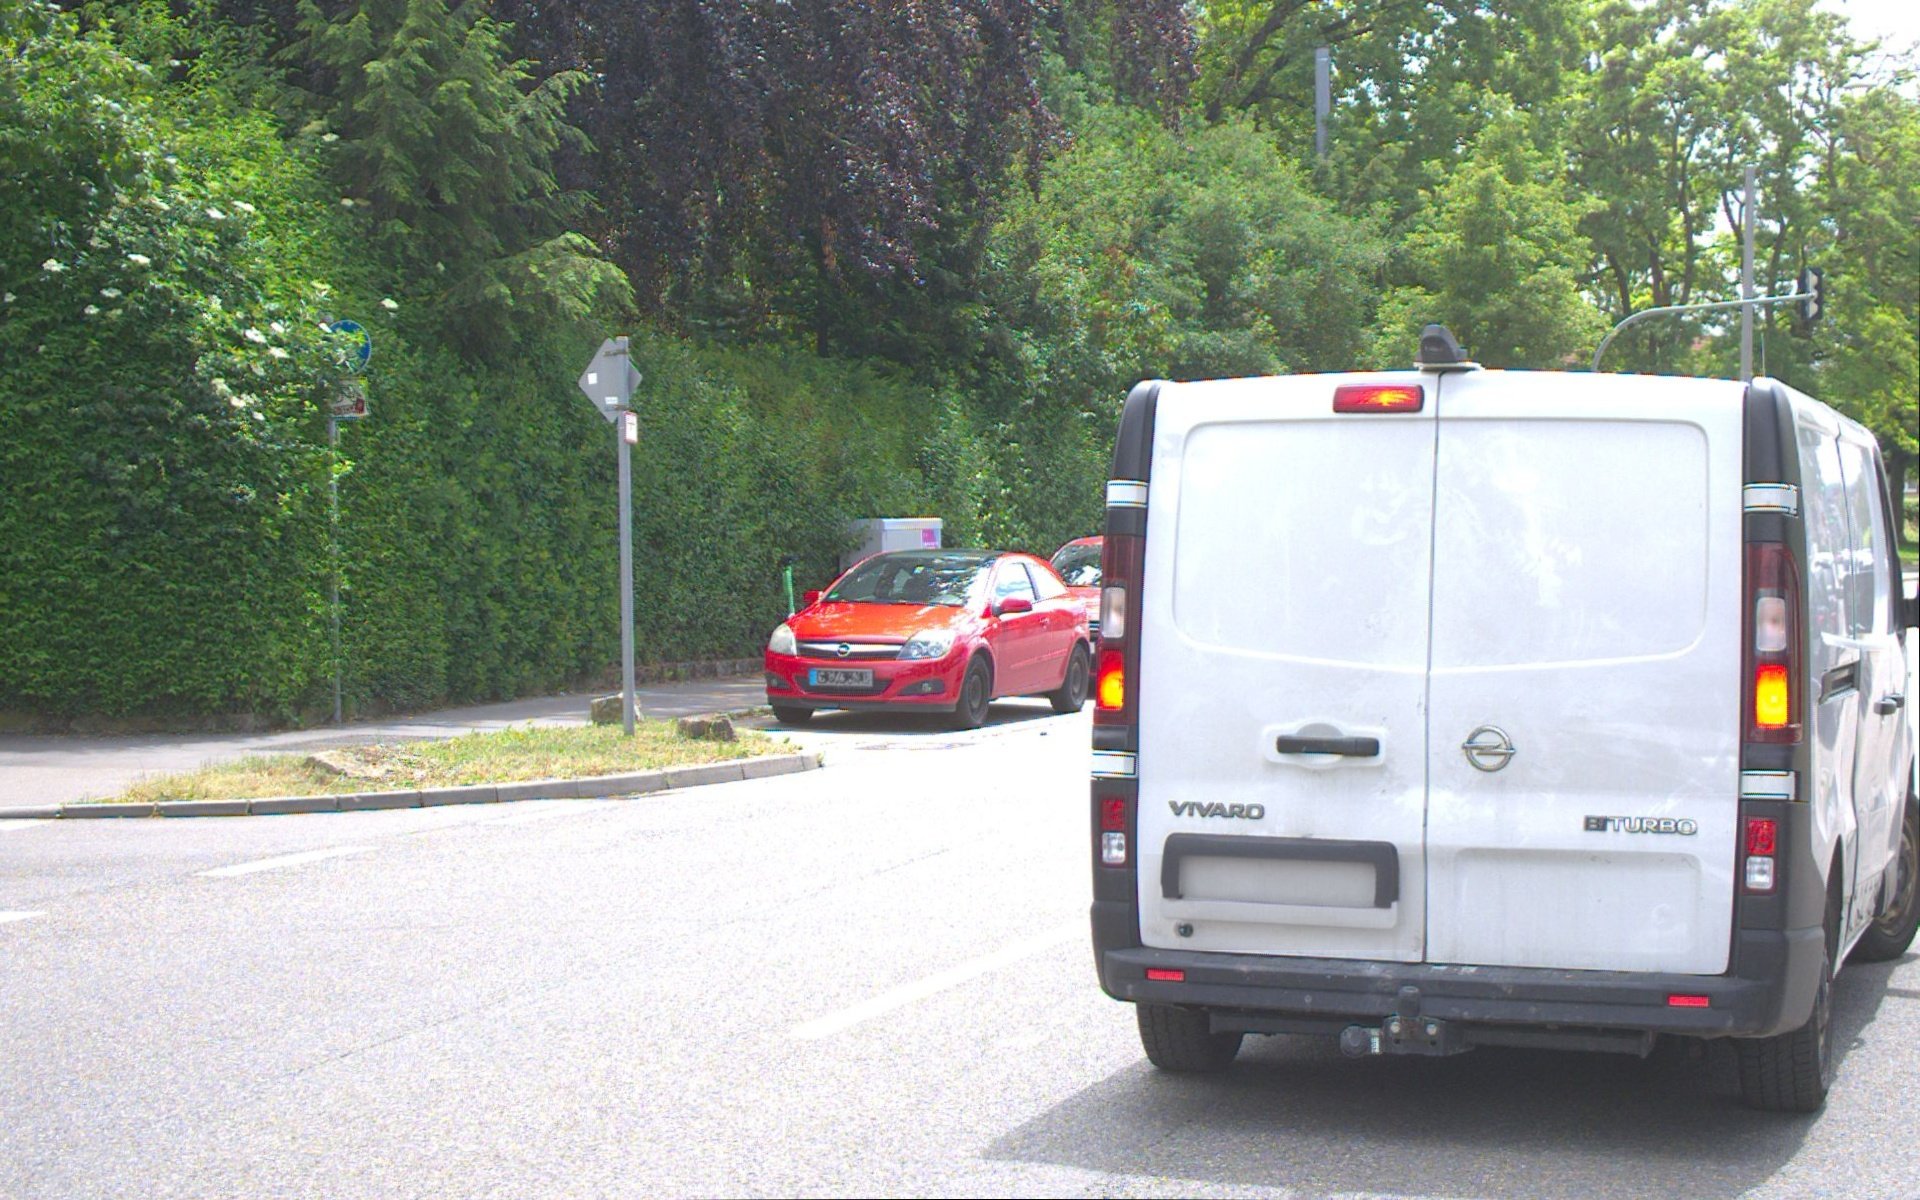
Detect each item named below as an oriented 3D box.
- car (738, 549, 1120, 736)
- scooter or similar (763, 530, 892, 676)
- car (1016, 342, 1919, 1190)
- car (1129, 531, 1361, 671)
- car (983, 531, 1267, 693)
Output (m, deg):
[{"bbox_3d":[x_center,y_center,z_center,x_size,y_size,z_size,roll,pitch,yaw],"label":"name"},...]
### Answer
[{"bbox_3d":[-0.158,0.286,28.663,1.662,1.373,4.561,1,2,20],"label":"car"},{"bbox_3d":[-1.312,0.013,34.348,0.671,1.407,1.647,1,2,22],"label":"scooter or similar"},{"bbox_3d":[1.875,0.307,10.593,1.941,1.954,4.829,2,2,19],"label":"car"},{"bbox_3d":[3.217,-0.025,38.250,1.597,1.445,3.592,1,2,21],"label":"car"},{"bbox_3d":[1.684,0.069,33.630,1.651,1.445,4.101,1,2,19],"label":"car"}]
